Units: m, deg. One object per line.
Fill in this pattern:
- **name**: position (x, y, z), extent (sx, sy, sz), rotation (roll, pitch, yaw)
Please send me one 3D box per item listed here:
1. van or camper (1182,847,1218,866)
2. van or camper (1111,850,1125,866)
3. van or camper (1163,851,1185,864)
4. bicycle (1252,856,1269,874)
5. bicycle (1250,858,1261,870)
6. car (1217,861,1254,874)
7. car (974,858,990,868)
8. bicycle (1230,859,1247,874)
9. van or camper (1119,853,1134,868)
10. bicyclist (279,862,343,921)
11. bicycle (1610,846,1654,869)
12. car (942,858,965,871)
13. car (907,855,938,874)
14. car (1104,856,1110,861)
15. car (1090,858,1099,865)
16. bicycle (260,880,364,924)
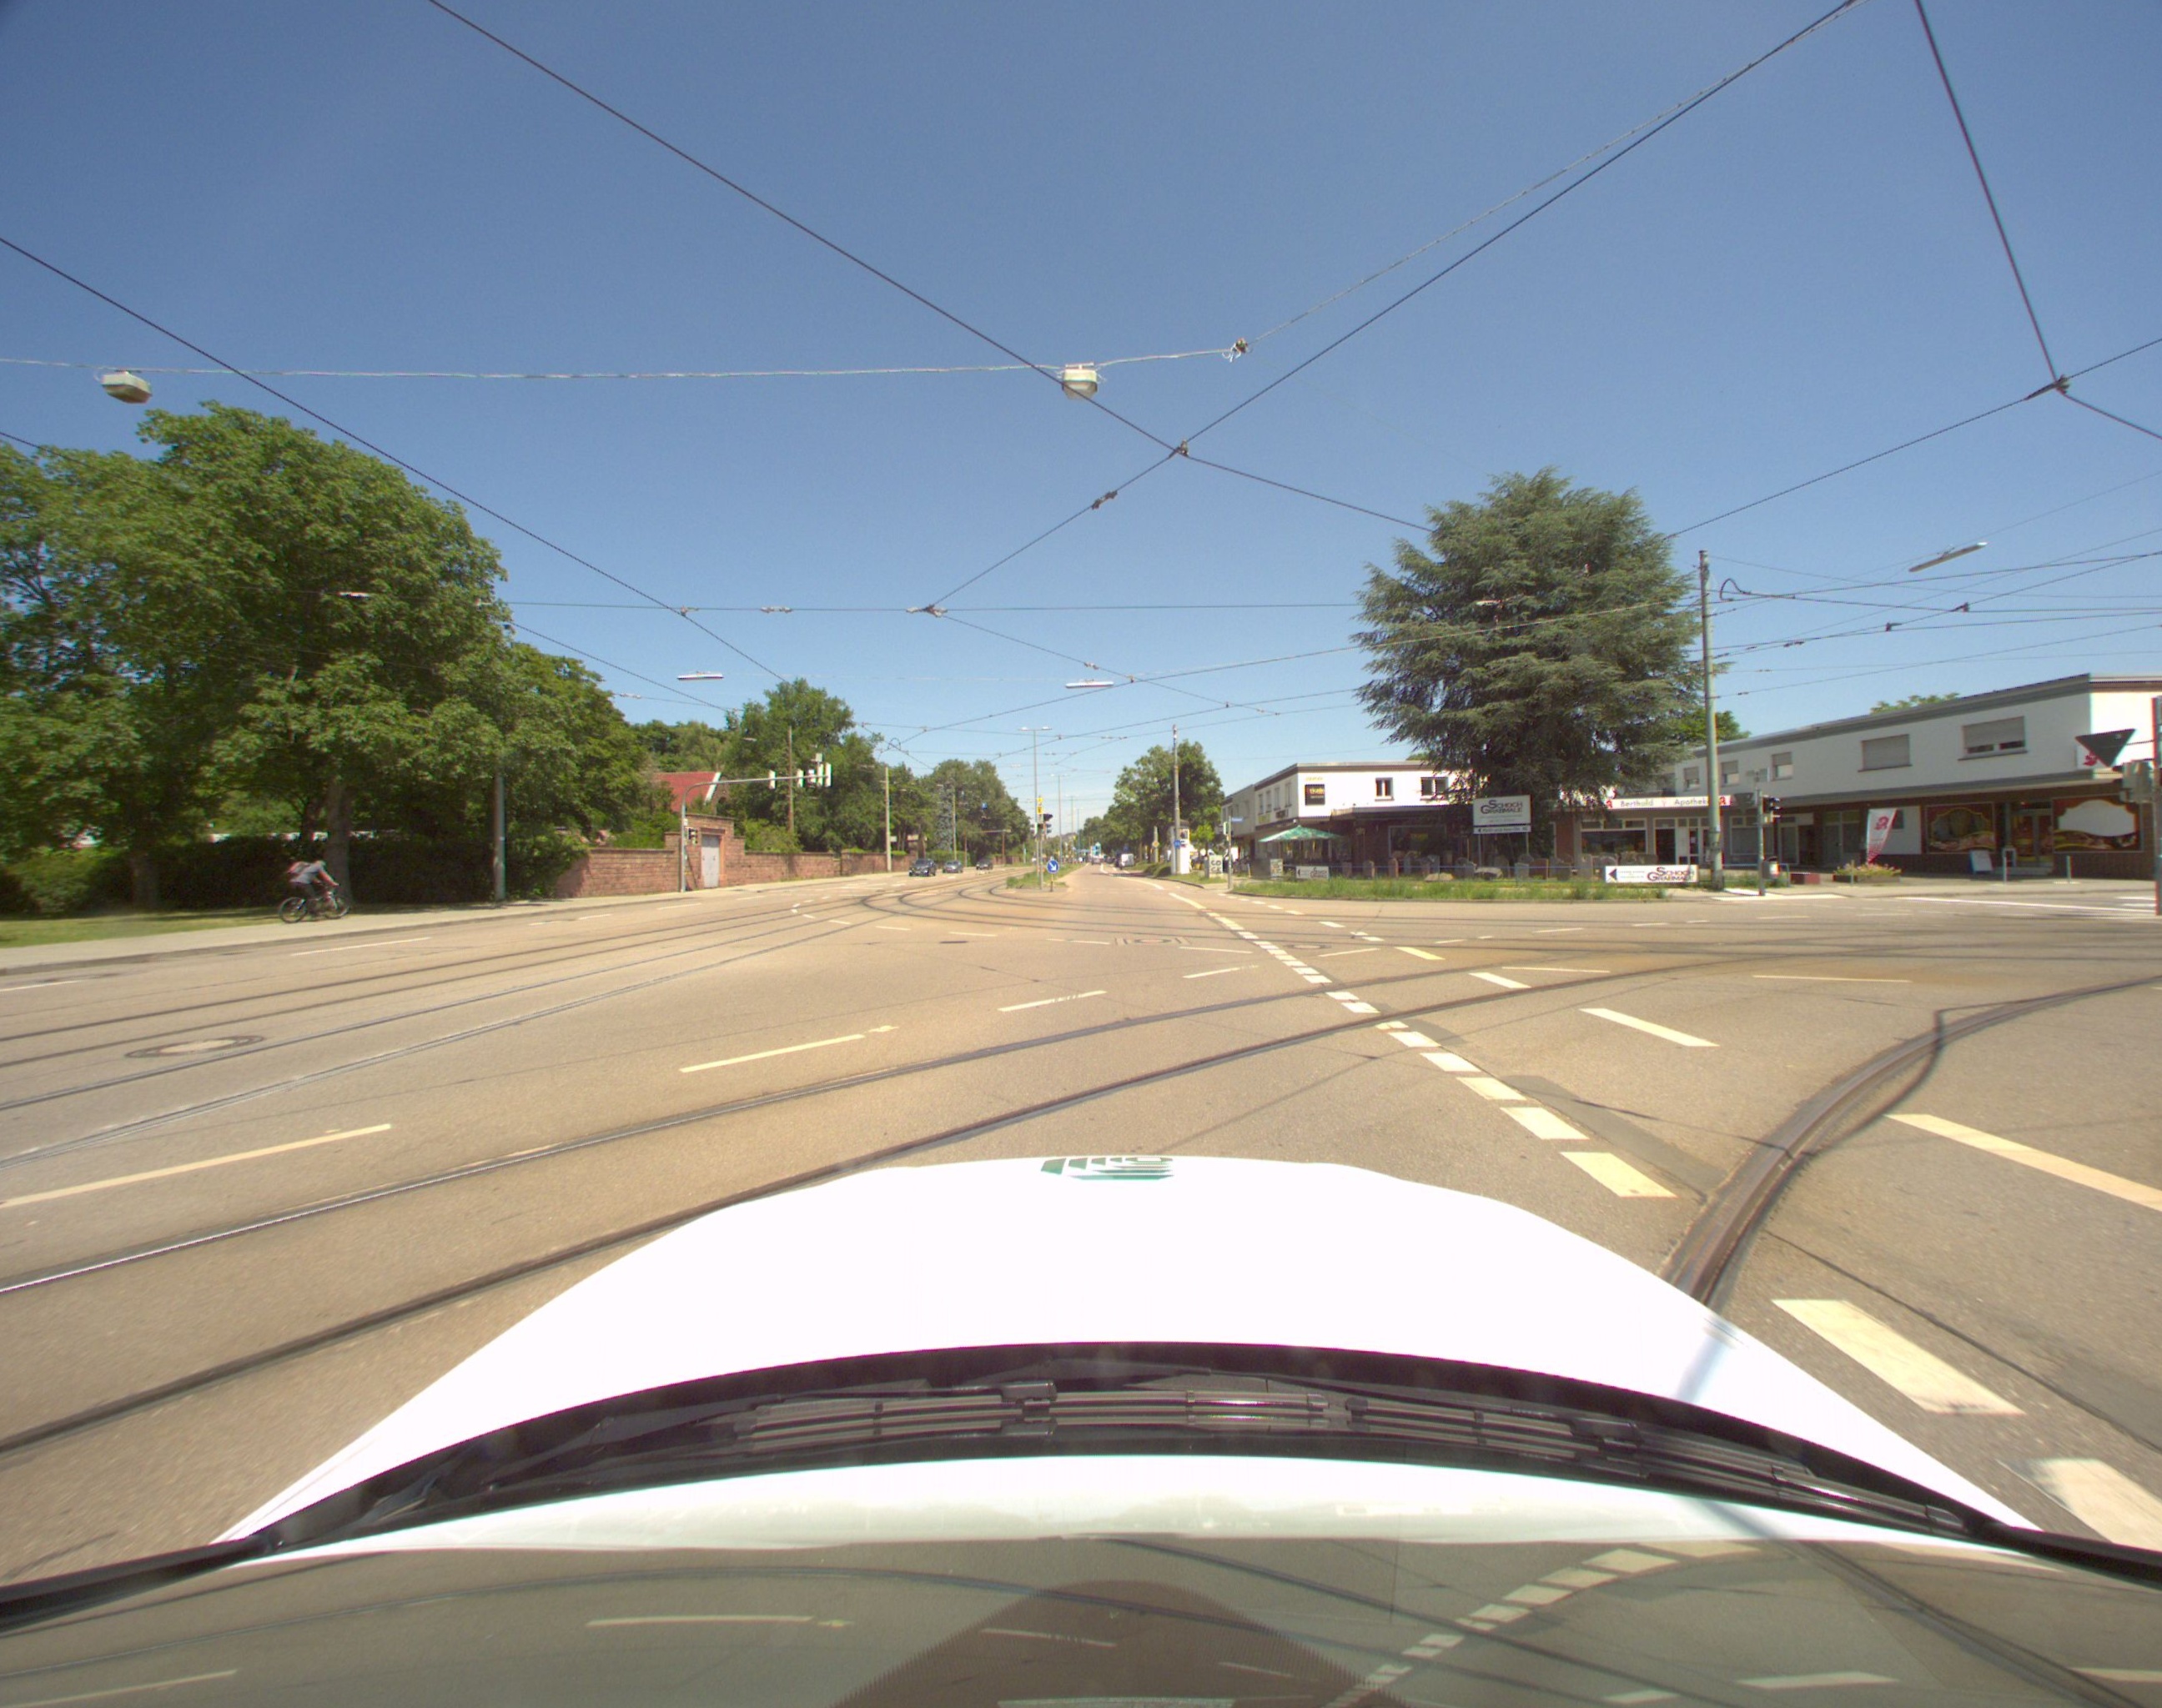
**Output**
- **van or camper**: position (17.031, 0.315, 116.612), extent (4.742, 2.671, 2.135), rotation (-1, 0, -1)
- **van or camper**: position (5.679, 0.606, 125.886), extent (1.988, 2.464, 3.998), rotation (-1, 0, -1)
- **van or camper**: position (16.137, 0.571, 141.226), extent (3.546, 2.145, 1.602), rotation (-1, 0, -1)
- **bicycle**: position (12.563, 0.763, 57.132), extent (0.983, 1.164, 2.643), rotation (-1, 0, 9)
- **bicycle**: position (15.280, 0.883, 71.415), extent (0.505, 1.065, 1.863), rotation (-1, 0, -2)
- **car**: position (16.588, 1.454, 87.492), extent (3.601, 1.351, 1.488), rotation (-1, 0, -5)
- **car**: position (-13.603, 1.206, 112.486), extent (1.635, 1.399, 4.116), rotation (1, 0, 1)
- **bicycle**: position (11.169, 0.885, 57.773), extent (1.028, 1.014, 2.643), rotation (-1, 0, 9)
- **van or camper**: position (5.760, 0.804, 103.565), extent (1.915, 1.772, 4.002), rotation (-1, 0, 2)
- **bicyclist**: position (-20.325, 0.976, 21.512), extent (0.847, 1.531, 0.846), rotation (-1, -1, 2)
- **bicycle**: position (29.419, 0.197, 43.525), extent (1.858, 1.192, 0.600), rotation (1, -1, 12)
- **car**: position (-14.101, 1.145, 90.428), extent (1.634, 1.421, 4.172), rotation (-1, 0, 4)
- **car**: position (-14.640, 0.920, 75.374), extent (1.812, 1.603, 4.523), rotation (-1, 1, 3)
- **car**: position (7.655, 1.274, 238.861), extent (1.519, 1.296, 3.491), rotation (-1, 0, -1)
- **car**: position (2.588, 1.380, 155.097), extent (1.632, 1.351, 3.840), rotation (-1, 0, -1)
- **bicycle**: position (-20.322, 1.239, 21.601), extent (0.712, 1.041, 2.104), rotation (-1, 0, 2)
